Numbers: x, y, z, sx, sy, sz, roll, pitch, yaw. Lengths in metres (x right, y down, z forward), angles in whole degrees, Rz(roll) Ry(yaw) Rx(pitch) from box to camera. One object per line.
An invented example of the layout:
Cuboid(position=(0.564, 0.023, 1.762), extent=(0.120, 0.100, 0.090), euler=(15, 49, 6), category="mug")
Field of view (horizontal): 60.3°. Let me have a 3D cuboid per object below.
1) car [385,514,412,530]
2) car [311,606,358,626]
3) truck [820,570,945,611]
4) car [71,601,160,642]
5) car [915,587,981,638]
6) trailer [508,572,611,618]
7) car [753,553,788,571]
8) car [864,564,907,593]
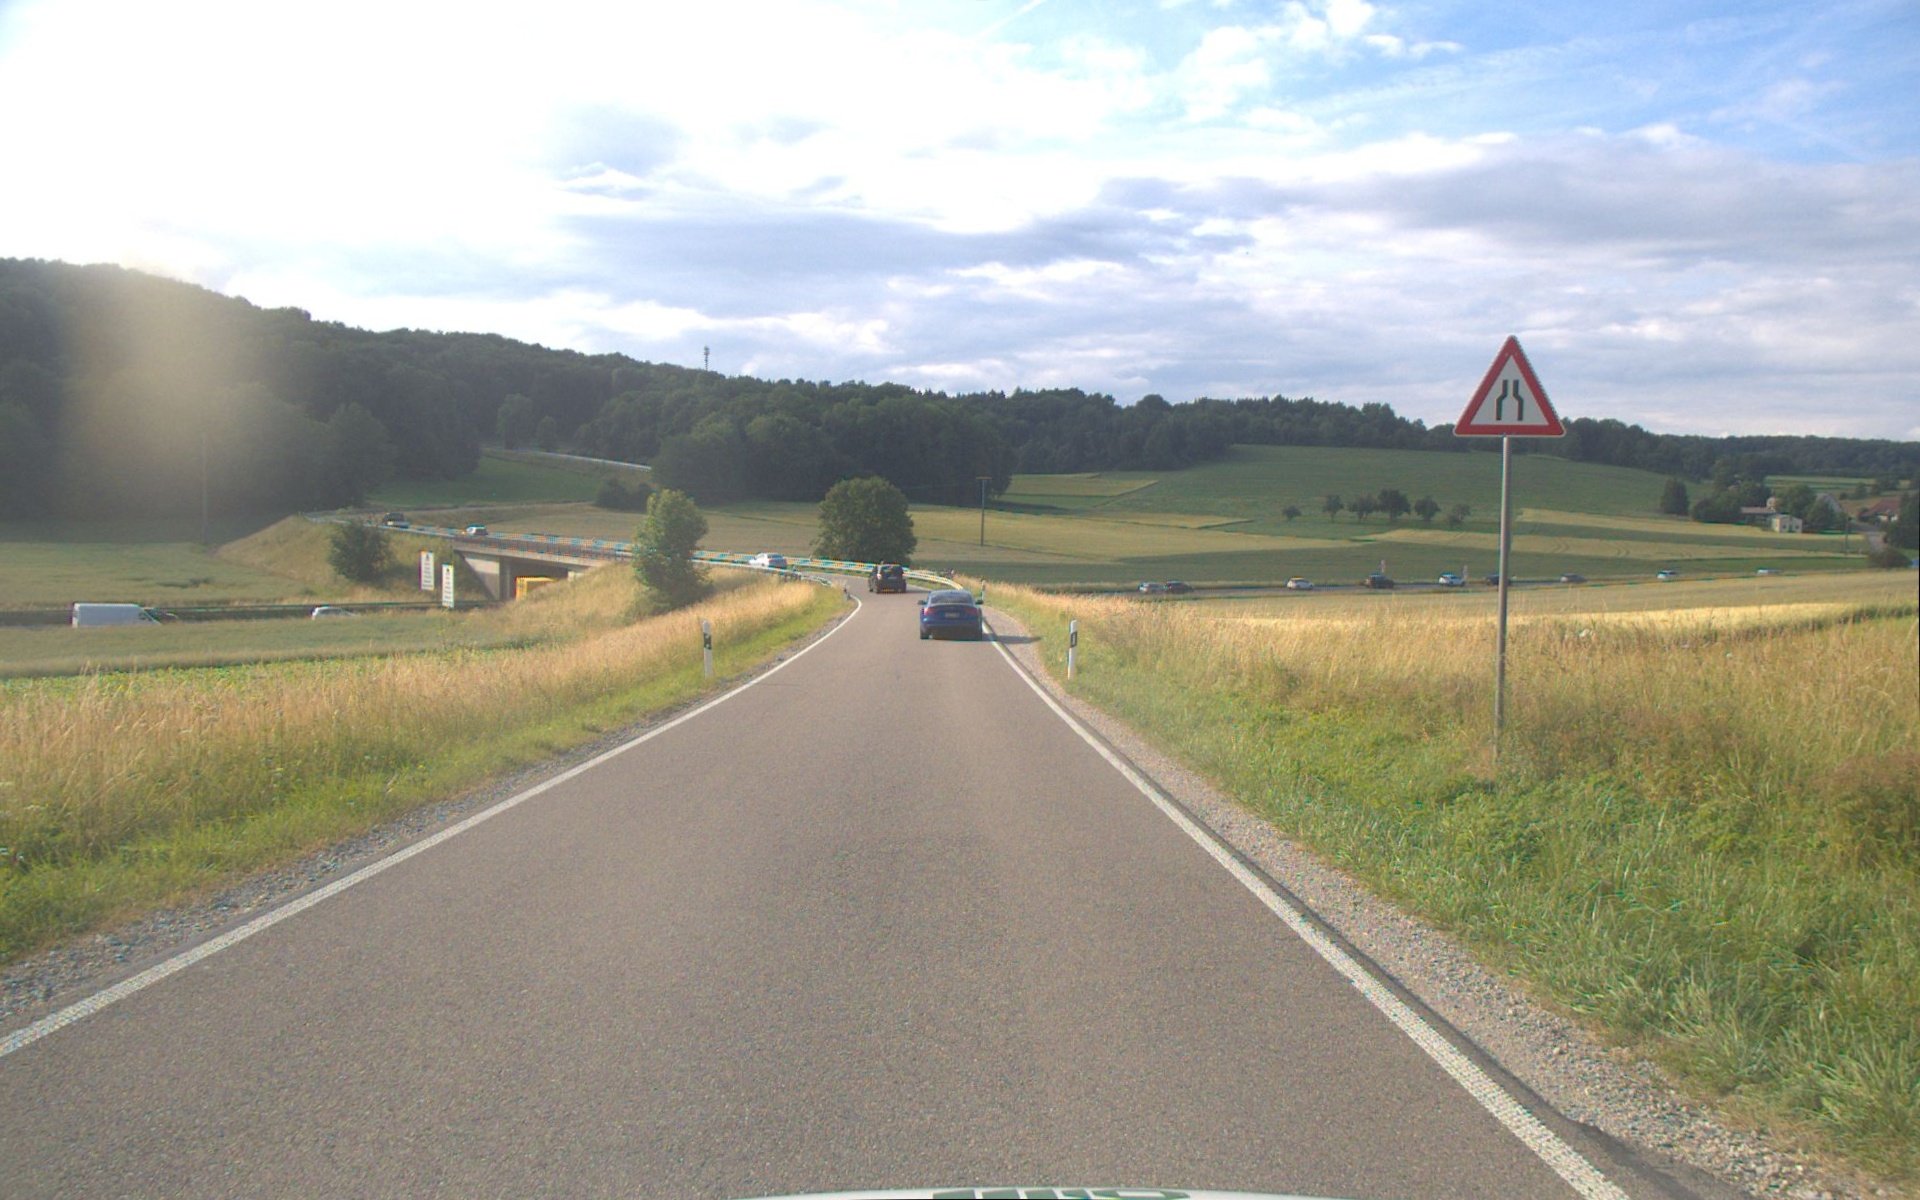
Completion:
Cuboid(position=(-68.839, -9.617, 202.898), extent=(1.979, 1.802, 3.948), euler=(-4, 6, -37), category="car")
Cuboid(position=(-55.911, 1.431, 147.918), extent=(3.585, 1.661, 1.632), euler=(-2, 0, -39), category="car")
Cuboid(position=(-8.484, -1.119, 182.561), extent=(14.290, 4.066, 4.021), euler=(-2, 1, -40), category="truck")
Cuboid(position=(-68.800, 1.722, 134.865), extent=(6.069, 2.627, 2.341), euler=(-4, 10, -41), category="car")
Cuboid(position=(-0.358, 0.348, 48.405), extent=(1.781, 1.362, 4.349), euler=(-2, 0, -1), category="car")
Cuboid(position=(-38.795, -0.527, 160.327), extent=(9.051, 4.130, 3.779), euler=(-2, 2, -42), category="trailer")
Cuboid(position=(-14.892, -3.017, 129.871), extent=(1.659, 1.400, 3.973), euler=(-1, 2, -23), category="car")
Cuboid(position=(-4.367, -1.282, 96.492), extent=(1.830, 1.596, 3.987), euler=(-1, 2, -13), category="car")
